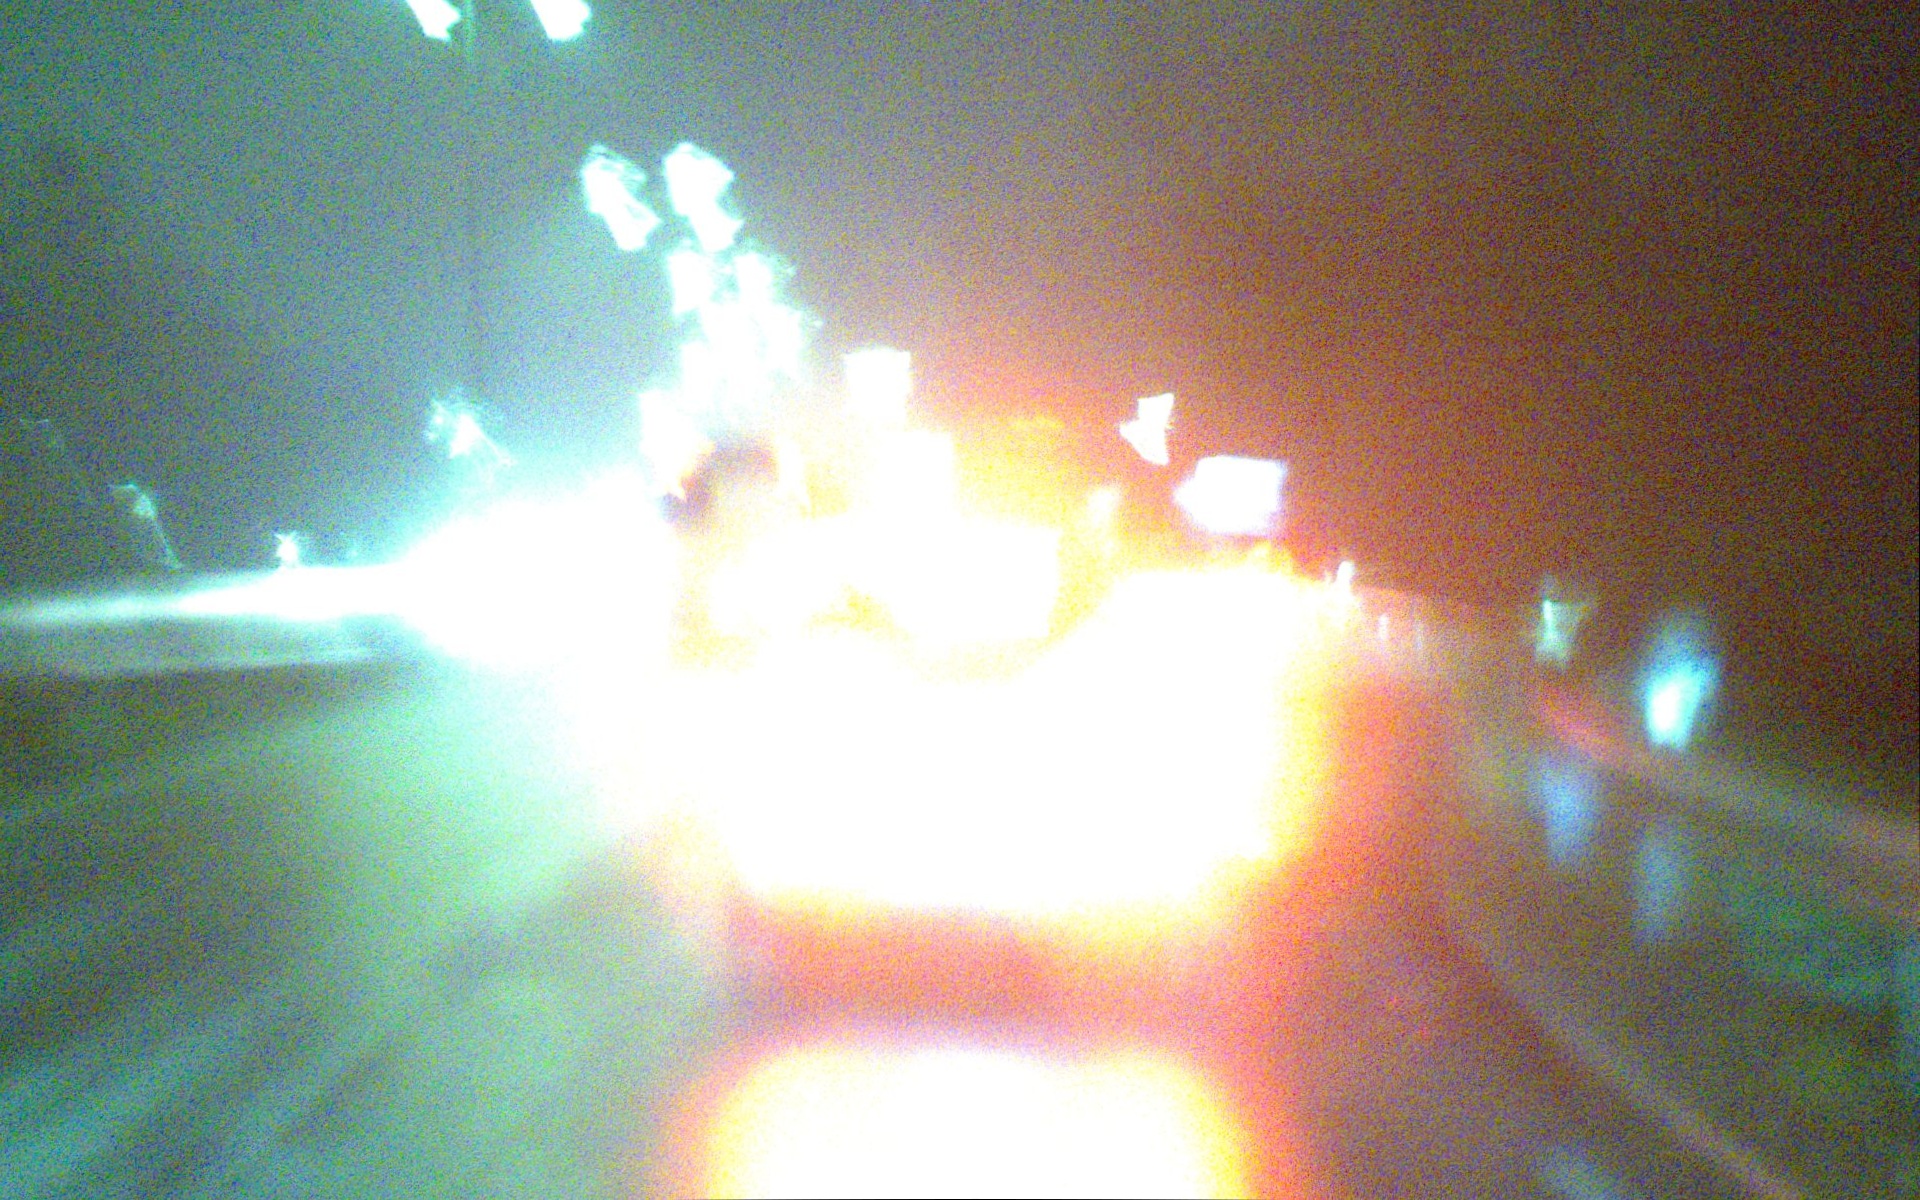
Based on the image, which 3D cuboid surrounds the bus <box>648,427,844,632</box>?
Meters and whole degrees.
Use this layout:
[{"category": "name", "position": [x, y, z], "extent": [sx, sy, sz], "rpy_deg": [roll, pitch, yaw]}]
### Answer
[{"category": "bus", "position": [-3.482, -1.191, 58.066], "extent": [2.743, 3.113, 9.202], "rpy_deg": [2, 1, -1]}]

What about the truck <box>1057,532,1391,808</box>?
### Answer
[{"category": "truck", "position": [2.787, 0.681, 35.980], "extent": [3.070, 2.520, 7.165], "rpy_deg": [2, 0, 5]}]

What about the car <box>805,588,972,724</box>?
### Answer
[{"category": "car", "position": [-0.774, 0.604, 39.556], "extent": [1.822, 1.456, 3.716], "rpy_deg": [0, 0, 0]}]

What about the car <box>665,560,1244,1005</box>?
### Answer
[{"category": "car", "position": [0.126, 0.599, 13.505], "extent": [1.944, 1.486, 3.715], "rpy_deg": [0, 0, 5]}]

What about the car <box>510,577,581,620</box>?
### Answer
[{"category": "car", "position": [-15.307, -0.054, 127.171], "extent": [2.023, 1.497, 4.897], "rpy_deg": [2, 0, 0]}]

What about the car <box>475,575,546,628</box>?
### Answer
[{"category": "car", "position": [-13.749, 0.055, 105.272], "extent": [1.600, 1.546, 3.834], "rpy_deg": [2, 0, 0]}]
